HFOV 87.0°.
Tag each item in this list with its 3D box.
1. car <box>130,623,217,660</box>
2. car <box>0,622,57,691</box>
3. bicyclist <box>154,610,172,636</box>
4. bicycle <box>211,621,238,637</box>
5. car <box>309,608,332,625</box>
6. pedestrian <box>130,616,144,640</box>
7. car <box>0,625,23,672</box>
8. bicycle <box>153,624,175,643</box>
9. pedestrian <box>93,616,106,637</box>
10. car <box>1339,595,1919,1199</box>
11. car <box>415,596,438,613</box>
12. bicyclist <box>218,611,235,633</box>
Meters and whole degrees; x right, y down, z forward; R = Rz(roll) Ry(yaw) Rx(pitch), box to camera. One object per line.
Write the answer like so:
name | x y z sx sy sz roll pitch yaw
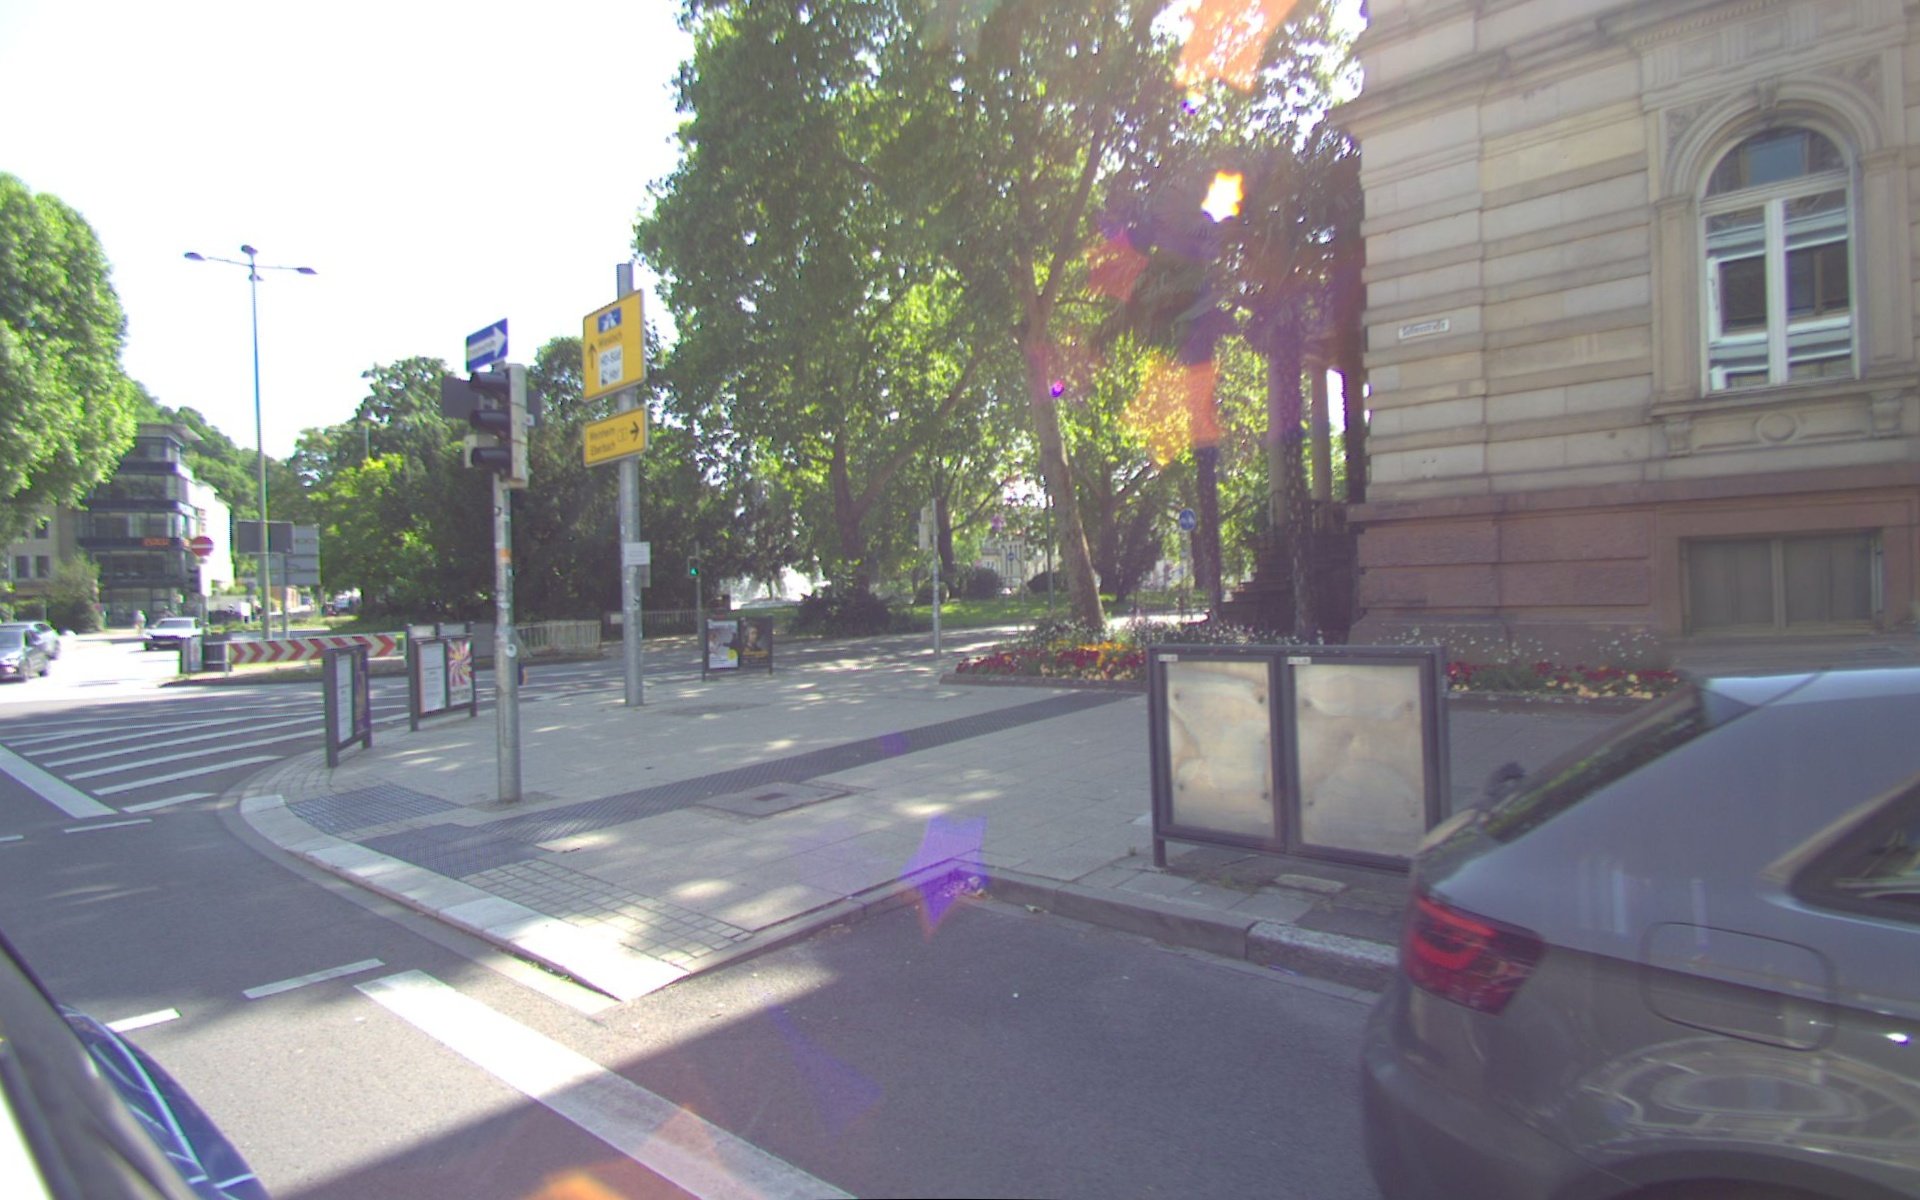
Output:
car | -35.748 1.844 46.131 1.909 1.440 4.564 -2 0 -22
car | -26.672 1.516 27.832 1.858 1.696 4.155 0 1 -29
bicyclist | -51.143 1.476 64.960 0.753 1.648 0.946 -1 1 -29
bicycle | -53.782 2.096 74.007 0.700 1.062 2.212 -2 1 -11
car | -68.079 1.753 107.796 1.820 1.801 4.012 -2 0 -29
pedestrian | -59.851 2.031 73.574 0.699 1.685 0.536 -2 1 -32
car | -35.936 1.791 36.803 1.859 1.697 4.154 0 -2 -30
bicycle | -51.133 2.121 65.007 0.747 1.129 2.008 -1 1 -29
pedestrian | -72.279 2.234 85.042 0.690 1.718 0.604 -2 -1 -26
car | 2.845 0.641 0.952 4.247 1.365 1.916 -2 -1 41
car | -55.082 0.507 104.429 1.820 1.674 4.012 -2 1 -32
bicyclist | -53.695 1.613 74.100 0.700 1.625 0.733 -2 1 -11
